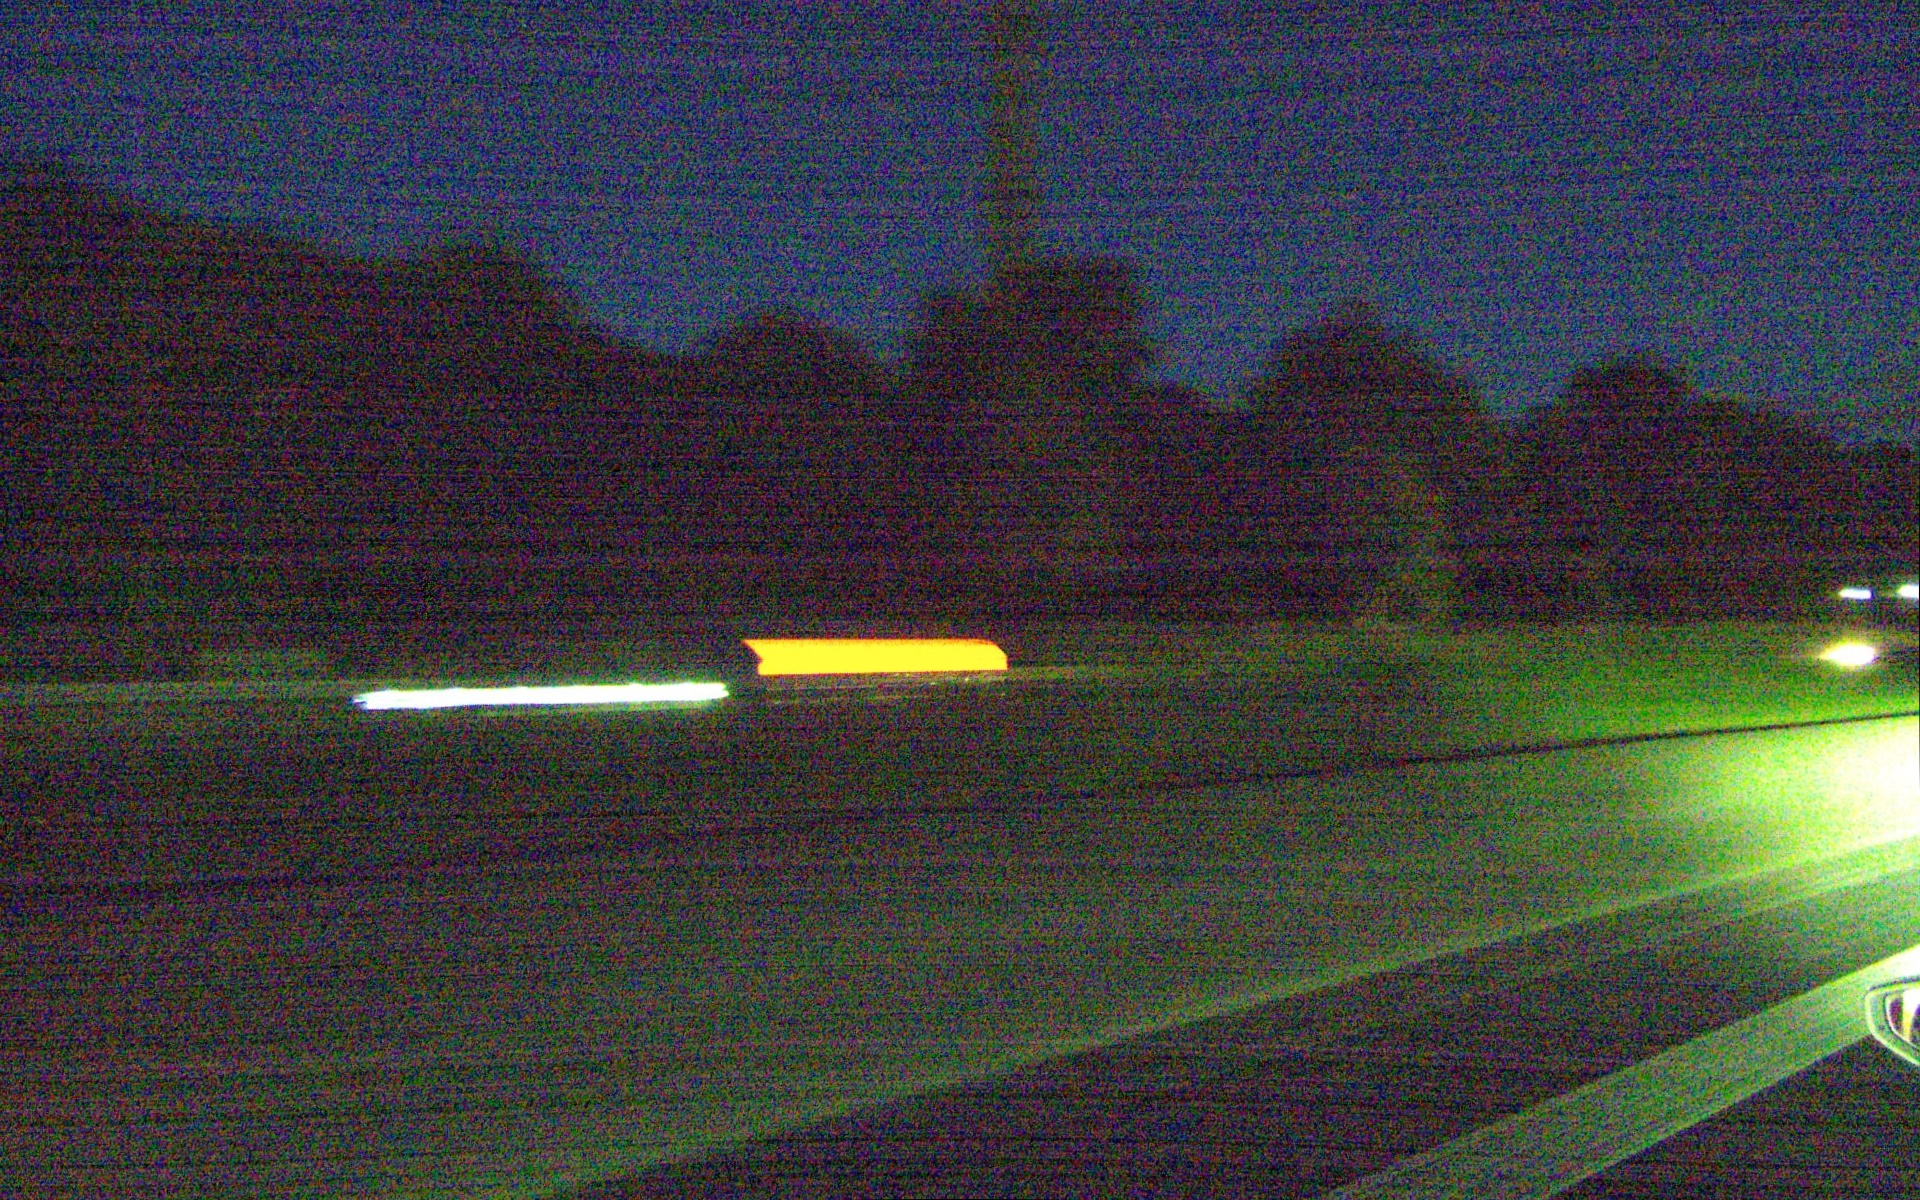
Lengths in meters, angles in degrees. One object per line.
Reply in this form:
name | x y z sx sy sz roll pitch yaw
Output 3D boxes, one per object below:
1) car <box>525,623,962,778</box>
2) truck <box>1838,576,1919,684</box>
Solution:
car | -2.431 1.049 11.742 4.698 1.498 1.742 1 -3 -31
truck | 44.367 1.343 45.017 16.798 4.257 3.096 1 -3 -33
